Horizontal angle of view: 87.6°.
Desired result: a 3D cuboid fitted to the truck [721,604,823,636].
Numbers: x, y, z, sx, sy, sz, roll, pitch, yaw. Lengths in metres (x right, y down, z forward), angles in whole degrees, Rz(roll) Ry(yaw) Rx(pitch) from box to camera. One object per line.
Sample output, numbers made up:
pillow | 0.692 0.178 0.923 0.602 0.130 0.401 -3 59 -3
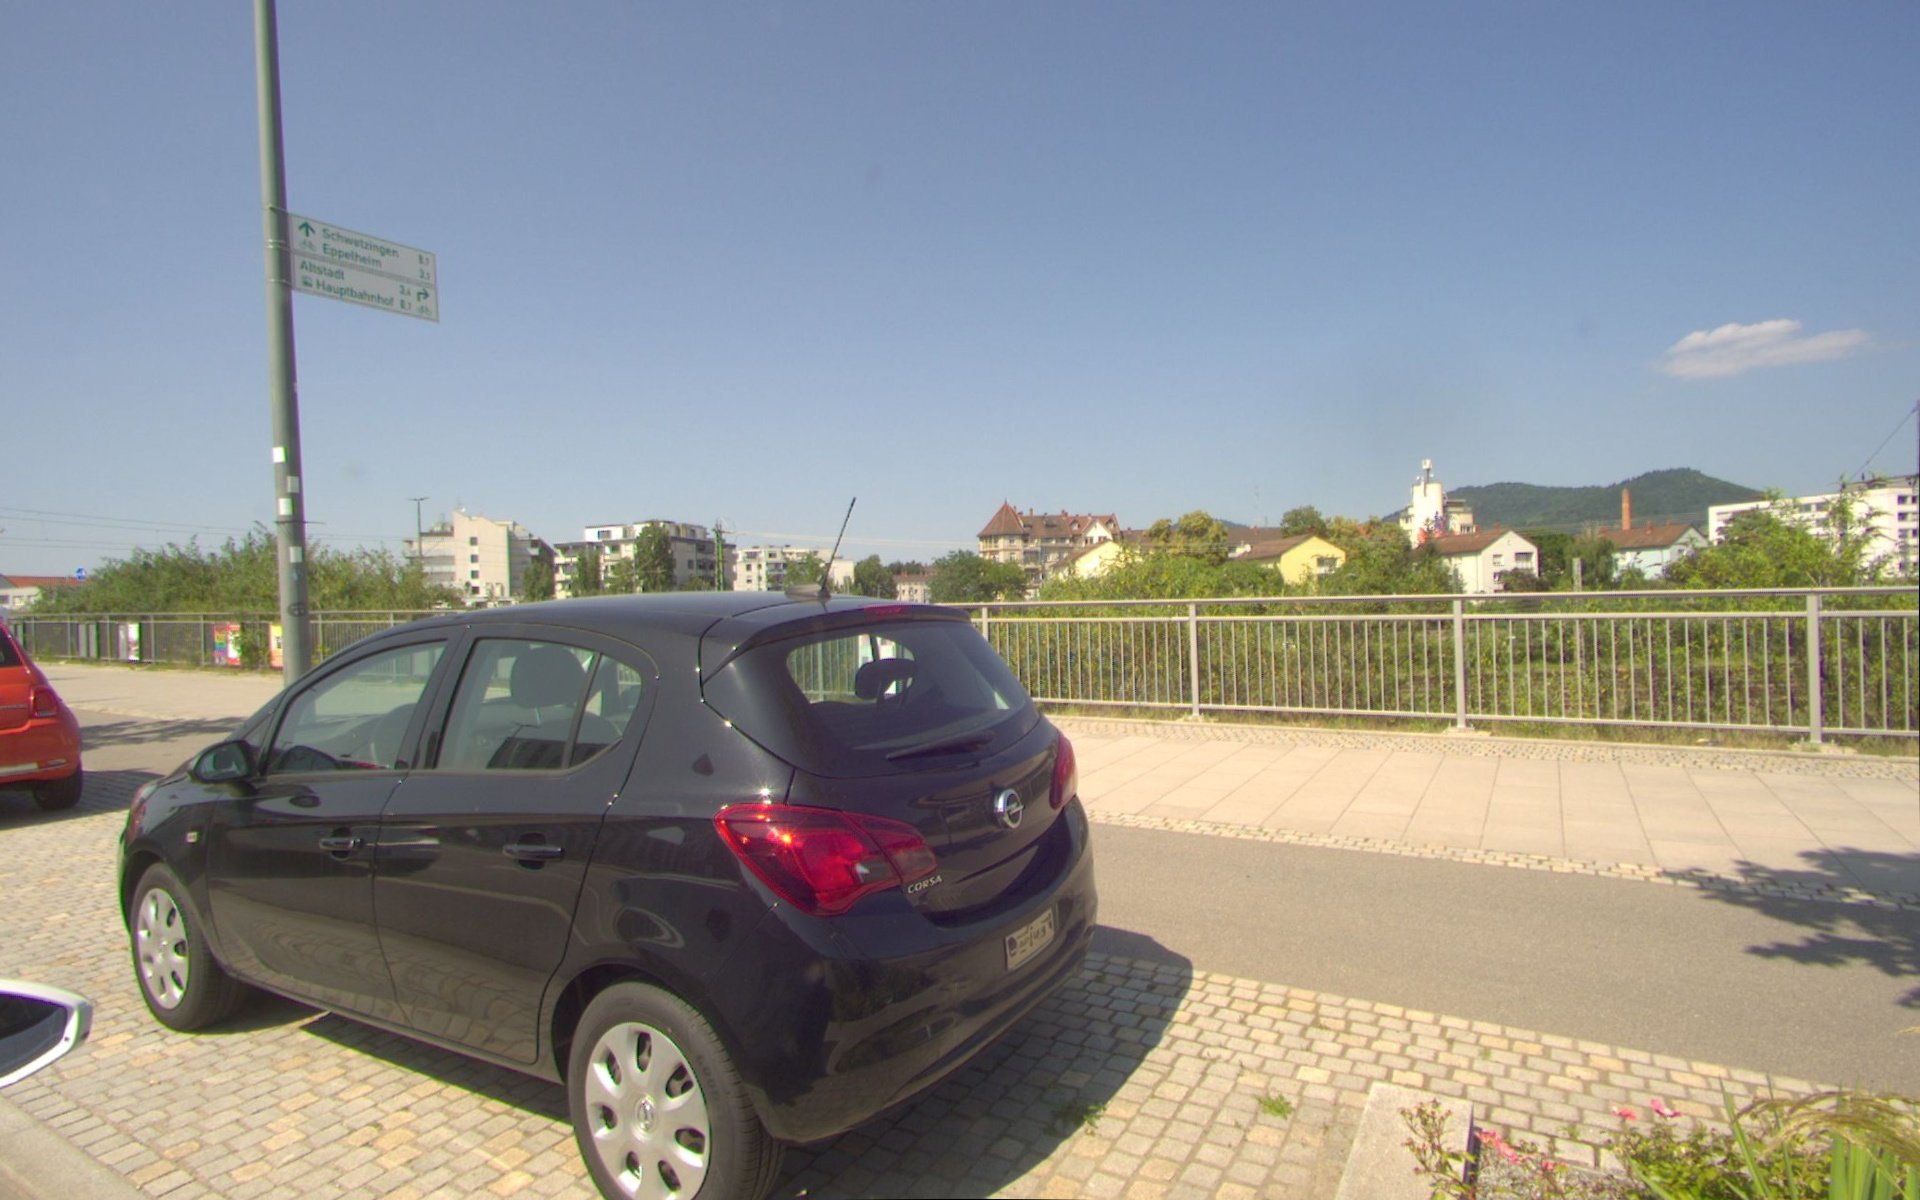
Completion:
truck | -21.137 2.394 114.653 3.674 3.243 17.876 -1 -3 17

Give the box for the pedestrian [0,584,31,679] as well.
pedestrian | -19.101 0.624 19.882 0.872 1.853 0.757 -1 -2 32

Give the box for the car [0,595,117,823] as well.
car | -8.367 0.769 7.750 3.859 1.561 1.666 0 2 32

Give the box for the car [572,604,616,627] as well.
car | -35.248 1.541 96.520 1.964 2.039 3.997 -1 -2 17

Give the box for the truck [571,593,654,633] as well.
truck | -29.630 1.182 85.686 3.672 3.244 6.485 -1 -2 17

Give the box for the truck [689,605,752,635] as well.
truck | -26.938 2.340 113.187 2.459 3.197 9.899 -1 -2 16

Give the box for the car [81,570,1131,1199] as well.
car | -1.348 0.739 3.498 3.495 1.577 1.577 -1 2 32

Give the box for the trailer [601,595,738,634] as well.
trailer | -26.923 1.549 94.594 3.674 3.243 17.244 -1 -3 17
